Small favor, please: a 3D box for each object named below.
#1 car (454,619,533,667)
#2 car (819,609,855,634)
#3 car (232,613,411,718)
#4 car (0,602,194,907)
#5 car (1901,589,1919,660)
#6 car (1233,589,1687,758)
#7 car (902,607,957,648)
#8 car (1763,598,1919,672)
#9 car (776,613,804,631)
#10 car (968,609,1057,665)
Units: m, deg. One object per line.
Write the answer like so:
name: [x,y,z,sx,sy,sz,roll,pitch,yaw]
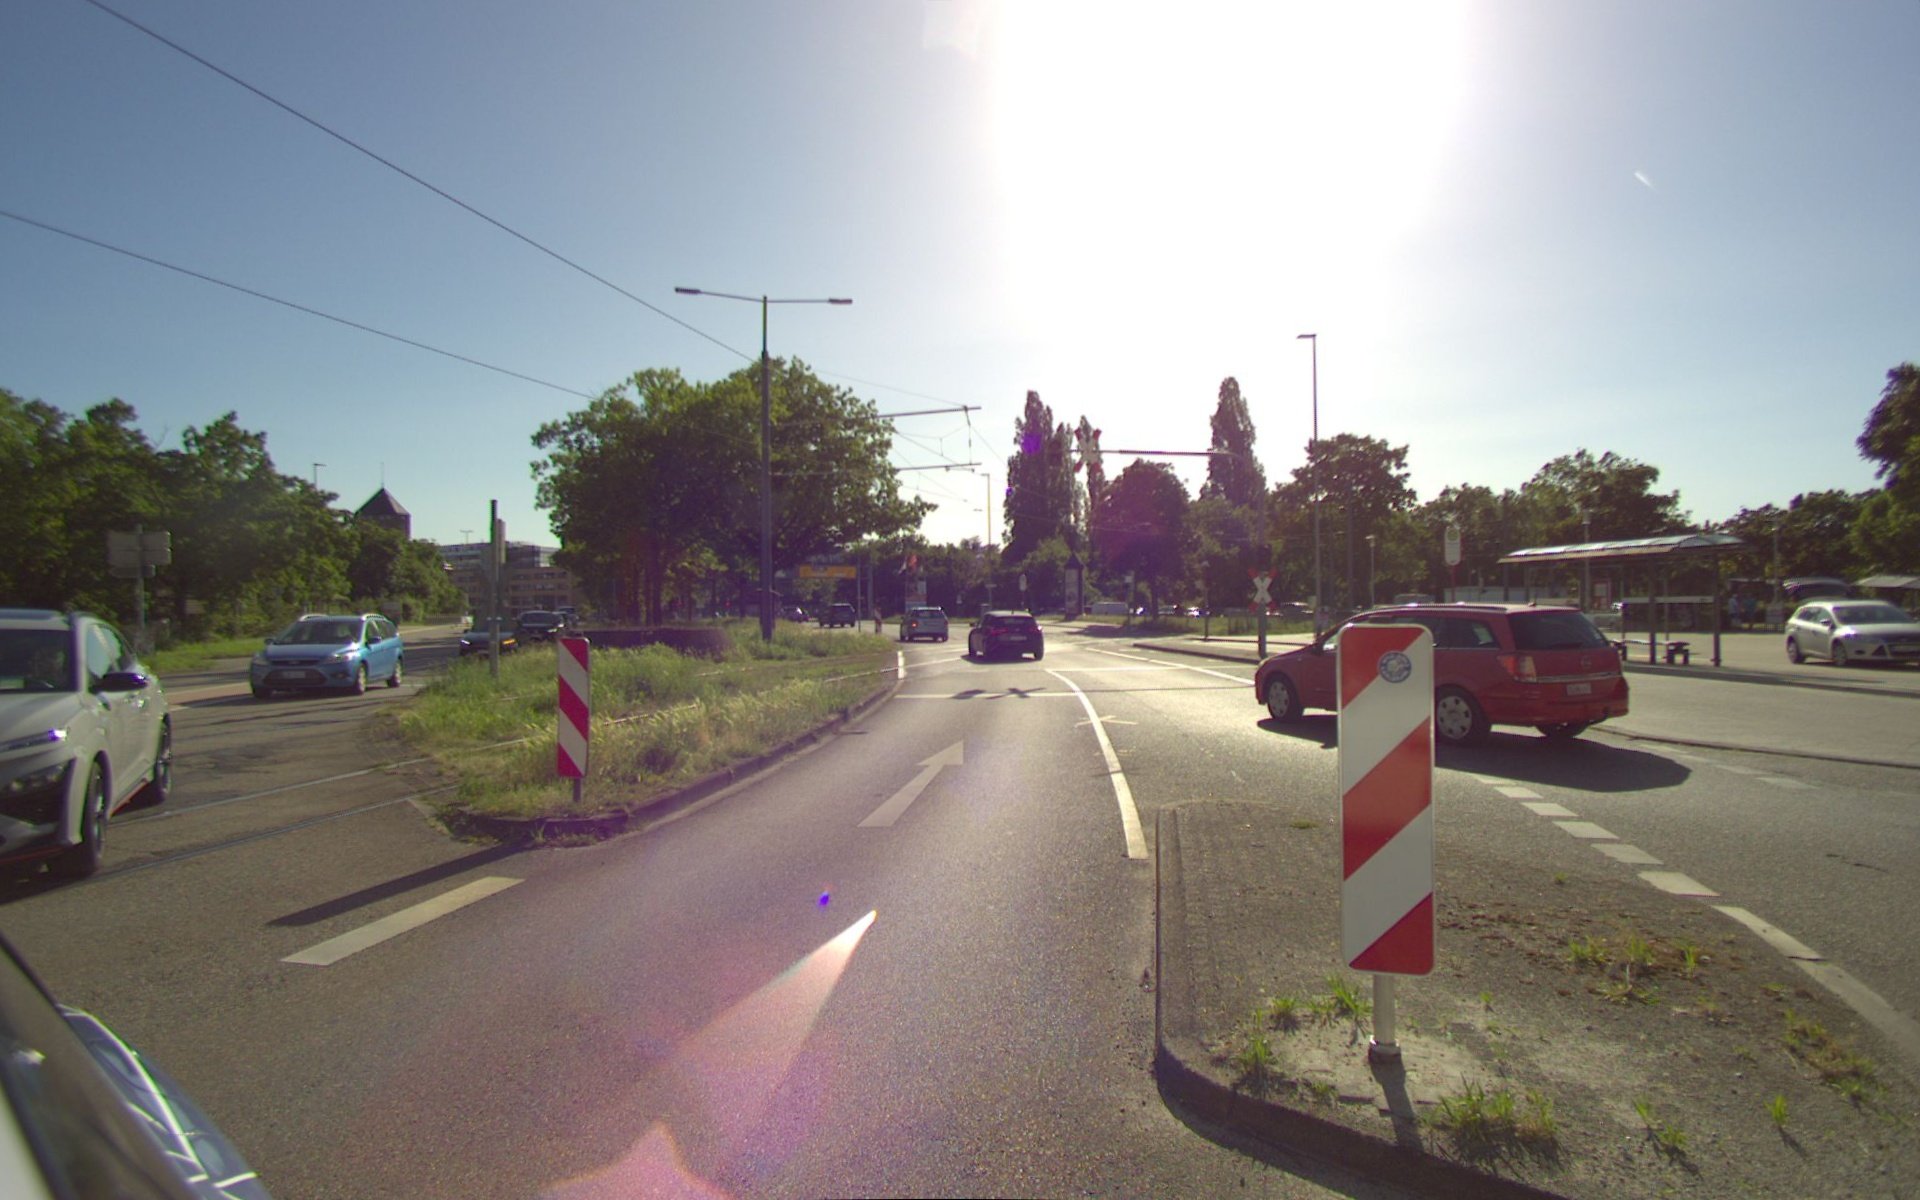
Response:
car: [-15.764,1.408,34.435,1.842,1.467,4.498,-1,-1,-17]
car: [-8.824,1.524,72.332,1.966,1.675,4.497,-1,-1,-15]
car: [-12.269,1.167,19.793,1.842,1.789,4.498,-1,-1,-17]
car: [-6.660,0.843,6.825,1.873,1.564,4.498,0,-1,-30]
car: [22.477,0.516,21.218,1.776,1.592,3.997,-1,-1,2]
car: [5.469,0.716,11.825,1.965,1.564,4.499,0,-1,-24]
car: [-1.378,1.155,44.241,1.969,1.675,4.491,-1,-1,-7]
car: [20.202,0.727,22.676,1.662,1.519,3.591,-1,-1,4]
car: [-16.461,2.110,97.645,1.966,1.675,4.499,0,-1,-18]
car: [1.529,1.098,31.353,1.969,1.564,4.491,-1,-1,-7]
